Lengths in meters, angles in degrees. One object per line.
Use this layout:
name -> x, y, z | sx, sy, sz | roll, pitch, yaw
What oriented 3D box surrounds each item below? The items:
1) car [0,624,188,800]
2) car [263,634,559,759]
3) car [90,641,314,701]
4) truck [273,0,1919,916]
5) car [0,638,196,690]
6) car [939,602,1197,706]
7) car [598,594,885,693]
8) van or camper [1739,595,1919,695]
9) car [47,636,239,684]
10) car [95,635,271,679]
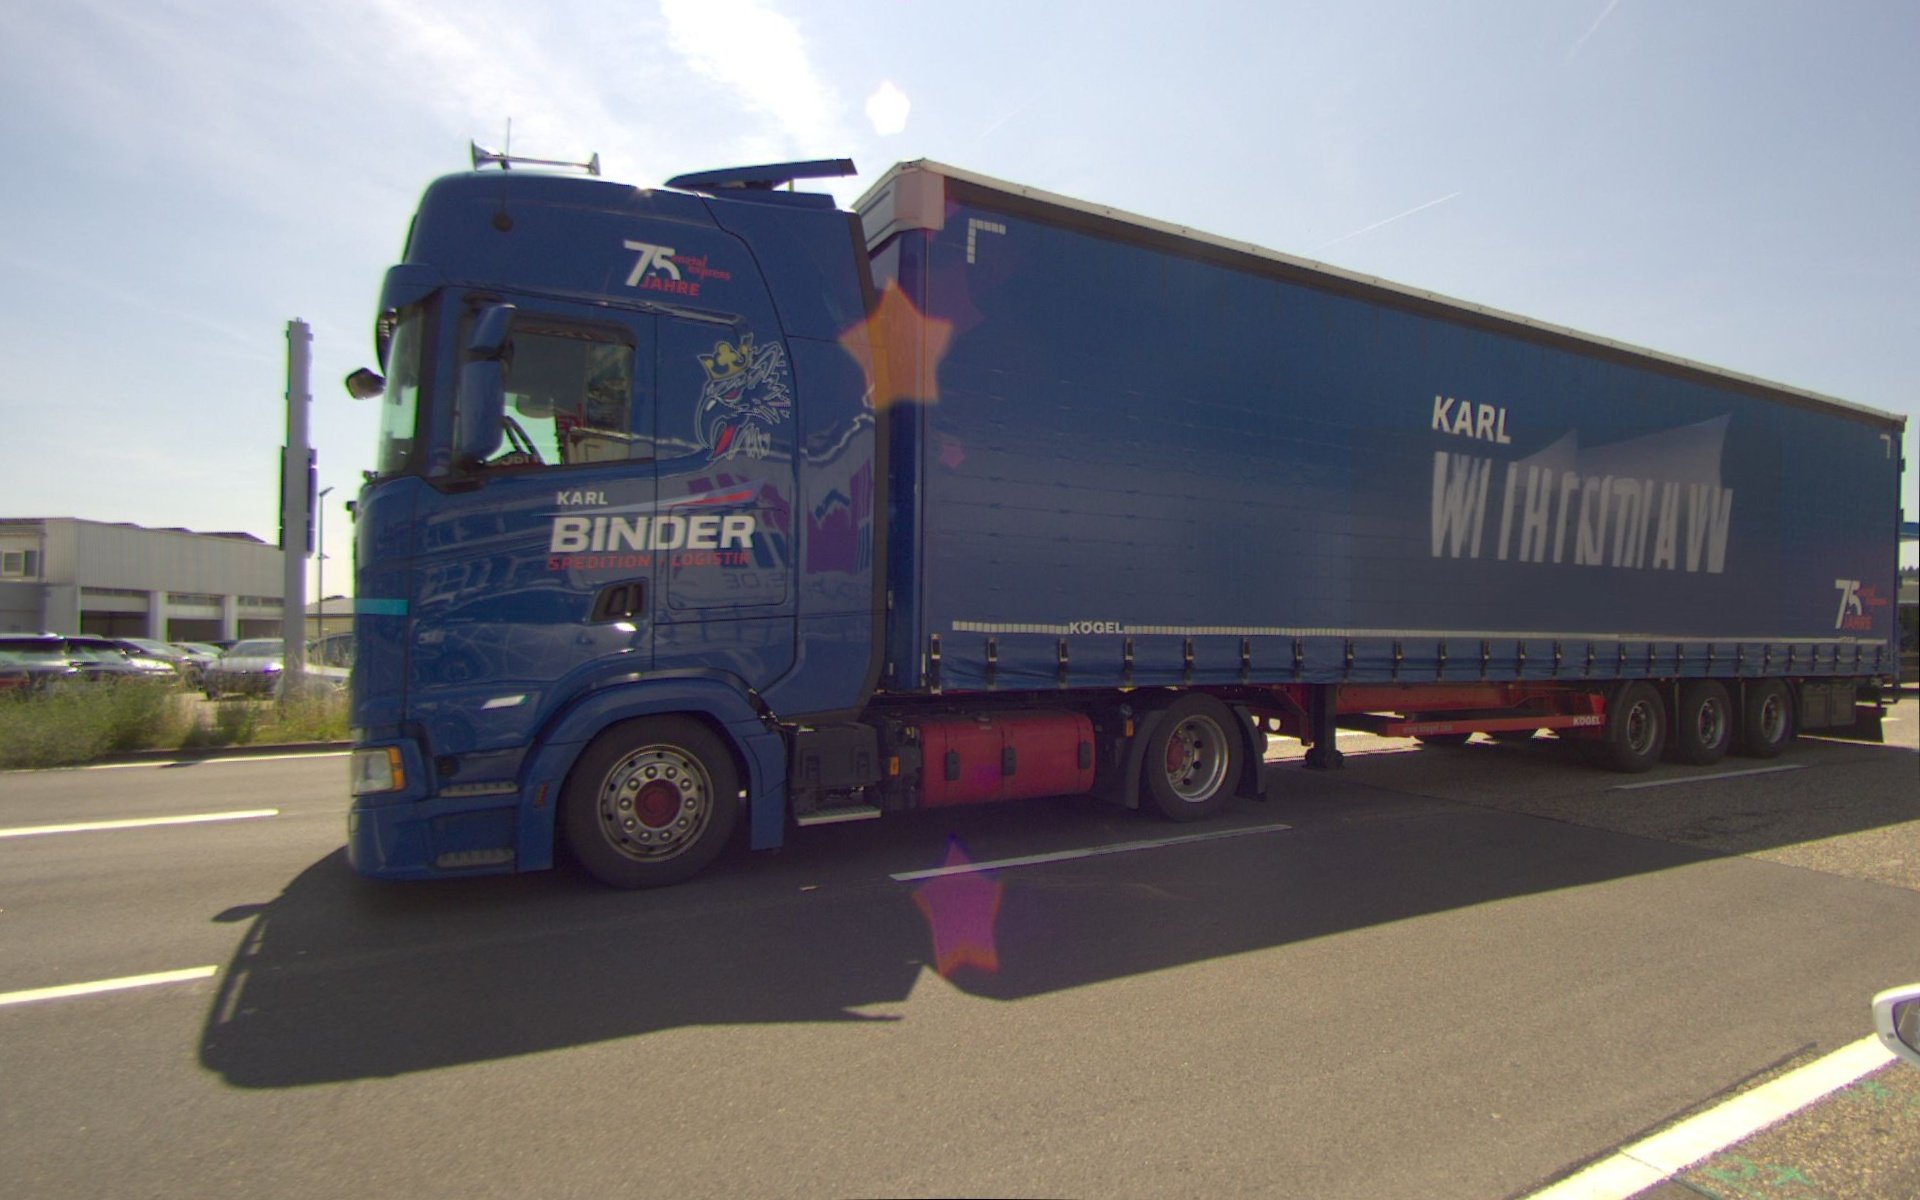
car -> -10.902, 1.158, 11.610 | 3.933, 1.706, 1.994 | 0, -1, 34
car -> -7.604, 1.227, 13.813 | 4.189, 1.474, 1.778 | -2, -3, 33
car -> -18.053, 1.671, 24.120 | 3.934, 1.300, 1.658 | 1, -1, -16
truck -> 4.048, -0.470, 9.262 | 16.792, 3.940, 2.833 | 2, -1, -28
car -> -22.778, 1.666, 26.402 | 3.926, 1.300, 1.662 | 1, -1, -8
car -> 1.840, 0.854, 17.505 | 4.110, 1.607, 1.778 | 0, -1, 33
car -> -3.265, 0.568, 14.735 | 4.112, 1.264, 1.777 | 0, -1, 34
van or camper -> 19.548, 0.937, 21.769 | 5.309, 1.961, 1.988 | 1, -1, -25
car -> -23.314, 1.706, 28.813 | 3.928, 1.300, 1.661 | 1, -1, -10
car -> -23.843, 1.736, 30.940 | 3.928, 1.300, 1.661 | 1, -1, -10
